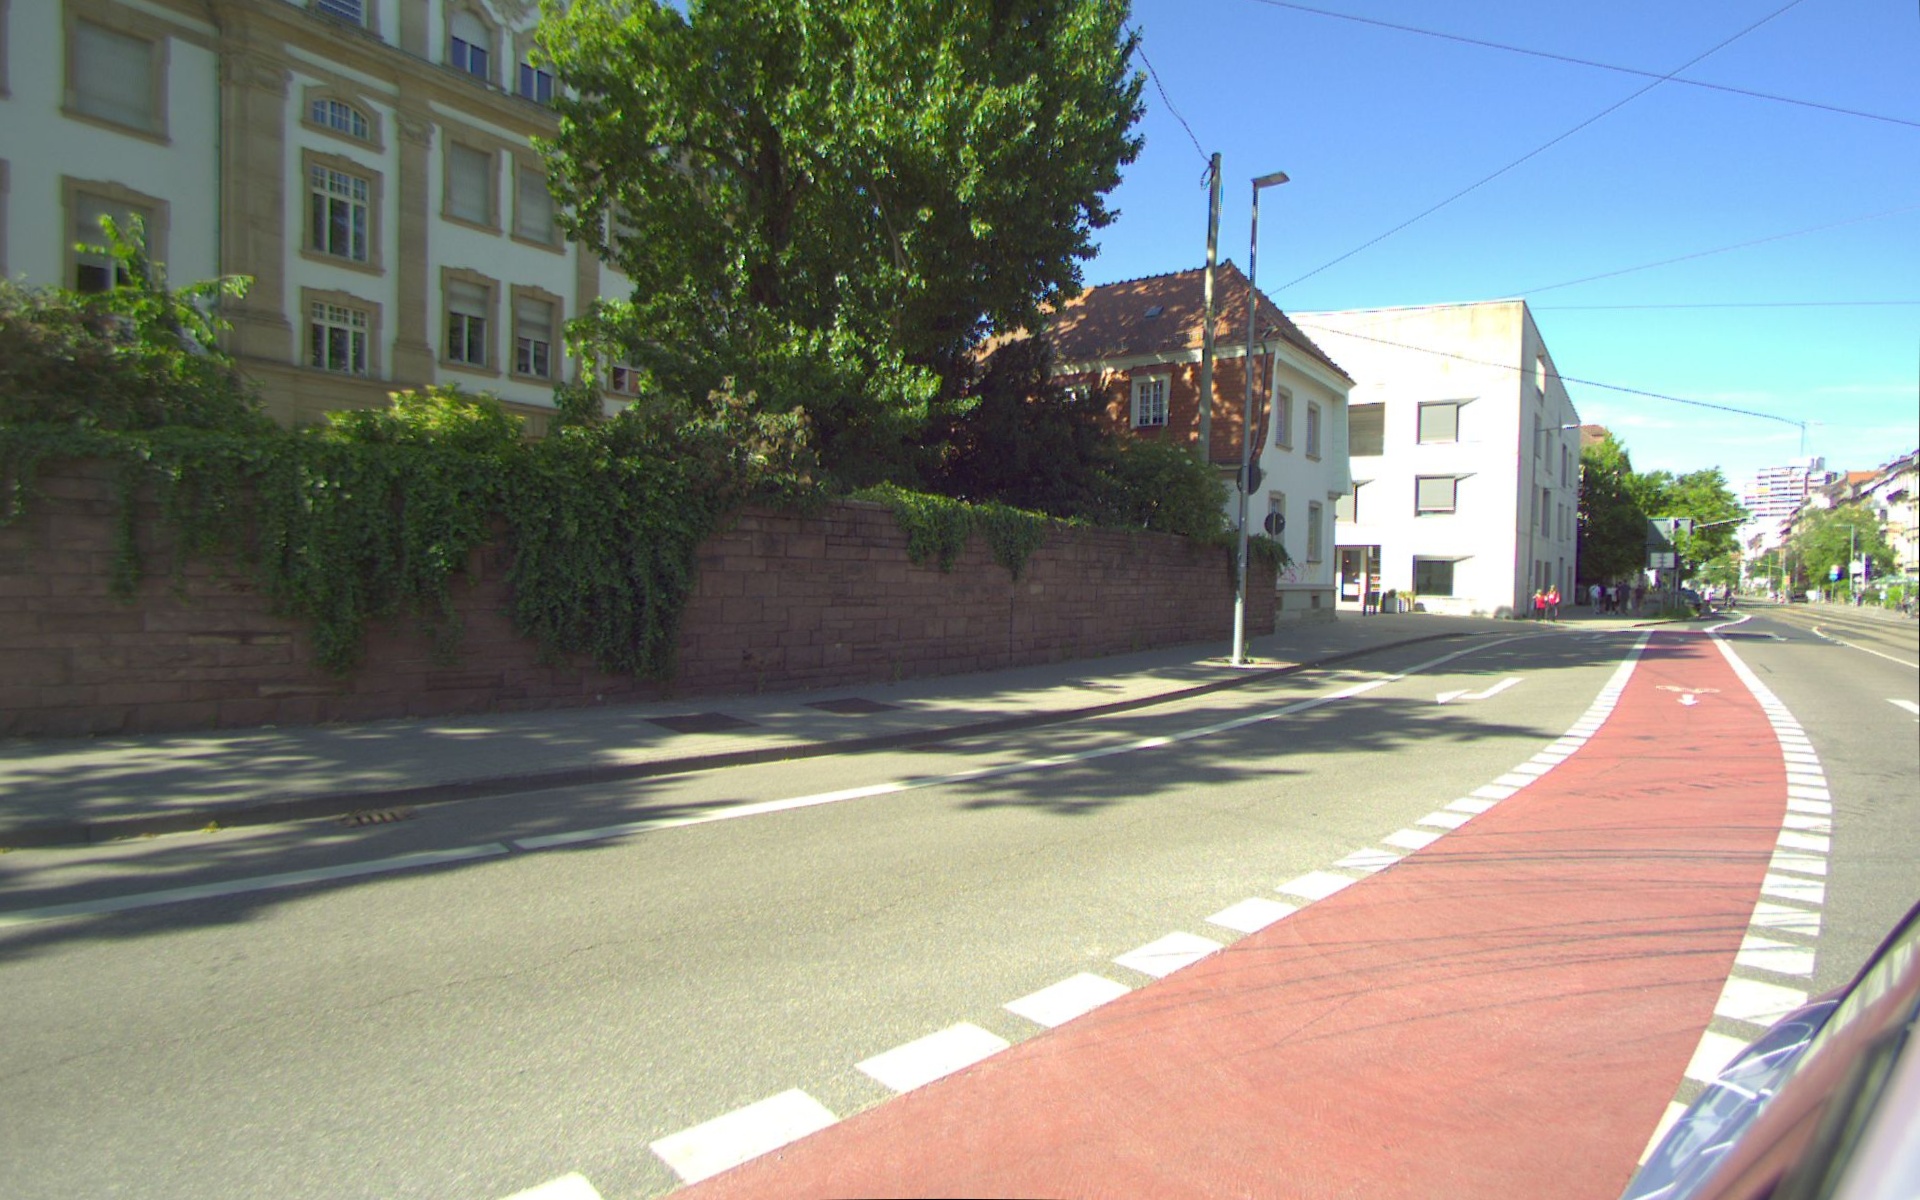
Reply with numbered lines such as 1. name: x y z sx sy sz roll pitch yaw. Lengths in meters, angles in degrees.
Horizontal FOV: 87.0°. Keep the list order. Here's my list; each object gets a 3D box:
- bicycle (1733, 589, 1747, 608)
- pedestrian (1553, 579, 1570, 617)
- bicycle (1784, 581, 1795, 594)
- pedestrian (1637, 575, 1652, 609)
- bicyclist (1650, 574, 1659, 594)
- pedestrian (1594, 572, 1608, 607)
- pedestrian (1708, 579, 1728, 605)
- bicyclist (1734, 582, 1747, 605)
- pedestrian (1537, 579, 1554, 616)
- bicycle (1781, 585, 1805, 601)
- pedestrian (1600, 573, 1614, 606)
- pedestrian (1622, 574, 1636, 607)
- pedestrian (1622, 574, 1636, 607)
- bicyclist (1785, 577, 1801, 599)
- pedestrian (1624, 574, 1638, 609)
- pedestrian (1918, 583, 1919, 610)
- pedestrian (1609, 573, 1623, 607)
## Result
1. bicycle: 51.019 -0.103 66.168 0.663 1.166 1.648 0 2 40
2. pedestrian: 25.565 -0.085 43.026 0.531 1.586 0.513 2 1 36
3. bicycle: 114.539 -1.714 139.730 0.998 1.702 2.946 0 2 37
4. pedestrian: 36.046 -0.411 53.295 0.584 1.749 0.513 2 1 36
5. bicyclist: 81.815 -1.888 119.209 0.809 2.234 0.971 0 1 39
6. pedestrian: 34.480 -0.579 54.452 0.584 1.828 0.538 2 1 36
7. pedestrian: 52.125 -0.549 69.595 0.919 1.759 0.675 2 1 18
8. bicyclist: 51.003 -0.433 66.150 0.663 1.480 0.613 0 1 41
9. pedestrian: 25.274 -0.101 43.683 0.531 1.586 0.513 2 1 36
10. bicycle: 89.032 -0.743 108.152 0.991 1.702 2.966 0 1 20
11. pedestrian: 35.689 -0.577 55.812 0.584 1.828 0.575 2 1 36
12. pedestrian: 37.385 -0.529 56.584 0.584 1.828 0.538 2 1 36
13. pedestrian: 36.693 -0.530 55.527 0.584 1.828 0.575 2 1 36
14. bicyclist: 89.020 -1.262 108.121 0.991 2.296 1.014 0 1 20
15. pedestrian: 35.562 -0.477 53.650 0.584 1.828 0.513 2 1 36
16. pedestrian: 68.181 -0.243 71.530 0.576 1.879 0.675 2 2 37
17. pedestrian: 35.047 -0.545 54.051 0.584 1.828 0.538 2 1 36
